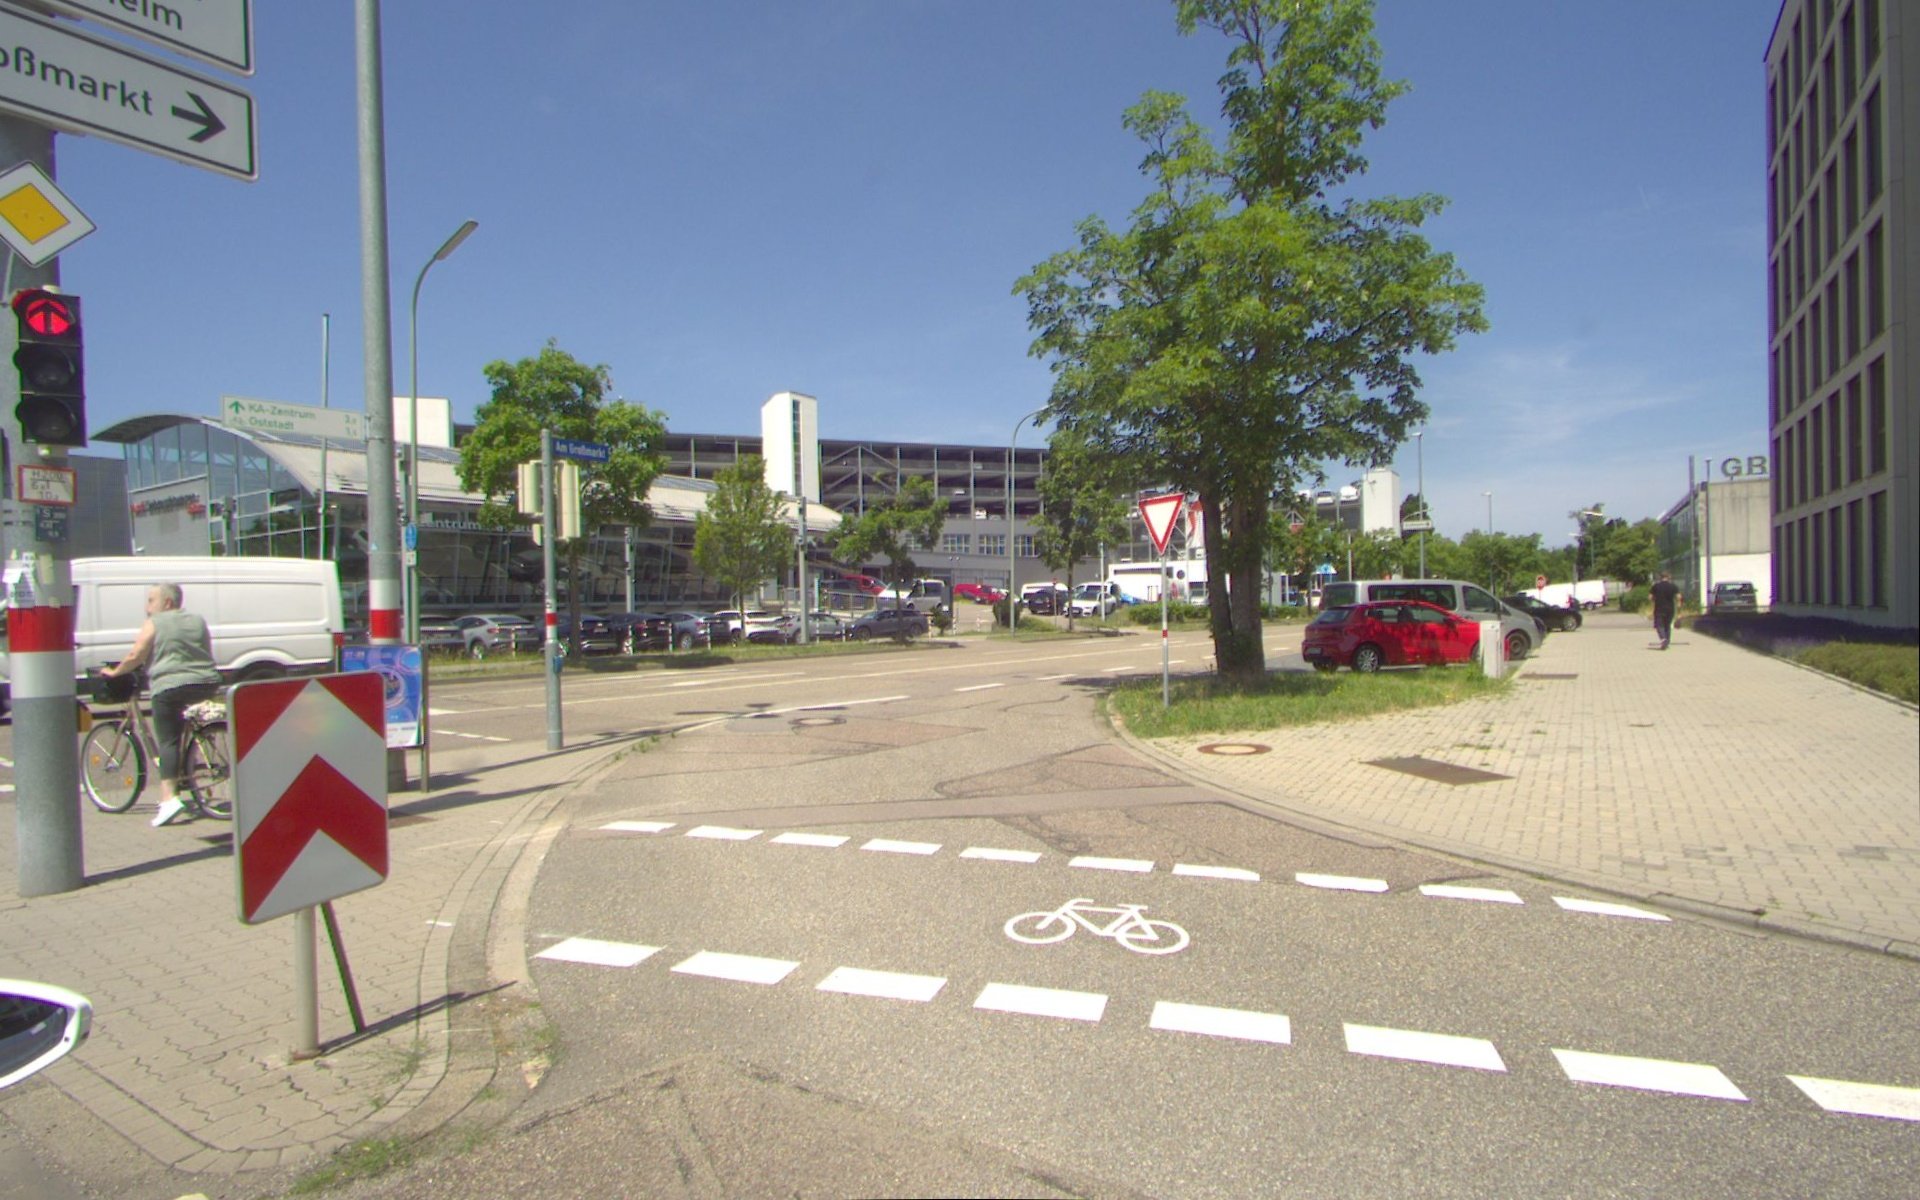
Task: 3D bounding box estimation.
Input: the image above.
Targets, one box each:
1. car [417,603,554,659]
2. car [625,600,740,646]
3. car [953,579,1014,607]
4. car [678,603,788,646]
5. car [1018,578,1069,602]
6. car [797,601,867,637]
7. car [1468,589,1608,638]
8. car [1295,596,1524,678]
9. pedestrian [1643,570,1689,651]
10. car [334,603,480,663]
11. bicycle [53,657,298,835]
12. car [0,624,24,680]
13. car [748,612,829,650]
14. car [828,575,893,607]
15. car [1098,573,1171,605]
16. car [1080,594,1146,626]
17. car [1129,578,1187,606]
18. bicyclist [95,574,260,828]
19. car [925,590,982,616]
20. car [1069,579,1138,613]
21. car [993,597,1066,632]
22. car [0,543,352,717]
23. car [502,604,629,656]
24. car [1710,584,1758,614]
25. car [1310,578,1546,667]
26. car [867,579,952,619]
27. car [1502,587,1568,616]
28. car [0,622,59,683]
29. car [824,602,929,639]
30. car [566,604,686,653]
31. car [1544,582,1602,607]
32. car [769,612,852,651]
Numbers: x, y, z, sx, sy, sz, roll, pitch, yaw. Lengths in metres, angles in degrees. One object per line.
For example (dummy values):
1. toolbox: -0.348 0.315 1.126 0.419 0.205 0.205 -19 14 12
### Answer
1. car: -15.241 0.957 32.103 4.460 1.662 1.881 -1 1 32
2. car: -10.850 0.870 39.048 4.410 1.662 1.823 -1 1 32
3. car: 1.823 -0.530 77.835 4.286 2.040 1.990 -1 0 30
4. car: -9.368 0.984 41.278 4.410 1.662 1.823 -1 1 32
5. car: 7.677 -0.927 92.002 4.257 2.040 1.989 -1 0 32
6. car: -7.426 1.084 58.201 1.839 2.040 3.732 -1 0 41
7. car: 21.482 0.520 37.346 4.075 1.558 1.815 -3 -1 2
8. car: 8.958 0.704 20.095 3.924 1.454 1.609 -2 0 -8
9. pedestrian: 16.732 0.250 23.717 0.764 1.869 0.861 -2 0 40
10. car: -16.653 0.960 30.114 4.377 1.662 1.989 -1 1 32
11. bicycle: -5.953 1.037 7.583 1.891 1.142 0.786 0 0 29
12. car: -27.317 1.421 25.531 1.973 1.476 4.729 -2 -1 34
13. car: -8.817 1.562 51.510 3.712 1.795 1.761 -1 0 -28
14. car: -6.683 -0.578 67.328 3.937 2.040 1.992 -1 0 27
15. car: 11.990 -0.731 68.921 4.578 2.040 1.989 -1 0 32
16. car: 10.227 0.668 67.025 3.943 2.040 1.989 -1 0 32
17. car: 15.482 -0.631 78.285 3.945 2.040 1.988 -1 0 34
18. bicyclist: -5.846 0.716 7.493 0.742 1.772 0.733 0 0 28
19. car: -0.496 0.250 74.334 3.943 1.810 1.730 -1 0 32
20. car: 9.154 -0.234 63.945 3.943 2.040 1.840 -1 0 32
21. car: 4.230 0.902 60.888 3.943 2.040 1.989 -1 0 32
22. car: -13.574 0.469 16.584 5.737 2.567 2.085 0 -1 -41
23. car: -13.599 1.001 34.465 4.410 1.662 1.823 -1 1 32
24. car: 42.071 -0.041 54.500 1.765 1.542 3.556 -2 0 33
25. car: 10.799 0.497 23.210 4.814 1.839 1.704 -2 -1 -10
26. car: -2.646 -0.059 53.915 1.972 2.040 5.117 -1 0 32
27. car: 41.660 0.131 72.534 3.949 2.040 1.986 -1 0 37
28. car: -25.141 1.327 24.153 1.973 1.476 4.729 0 0 34
29. car: -3.933 0.938 47.612 4.702 1.662 1.821 -1 1 -35
30. car: -12.278 1.007 36.733 4.410 1.662 1.823 -1 1 32
31. car: 55.205 -0.515 90.178 4.304 2.149 2.080 -1 0 36
32. car: -7.368 1.512 49.312 3.659 1.801 1.739 -1 0 -31
